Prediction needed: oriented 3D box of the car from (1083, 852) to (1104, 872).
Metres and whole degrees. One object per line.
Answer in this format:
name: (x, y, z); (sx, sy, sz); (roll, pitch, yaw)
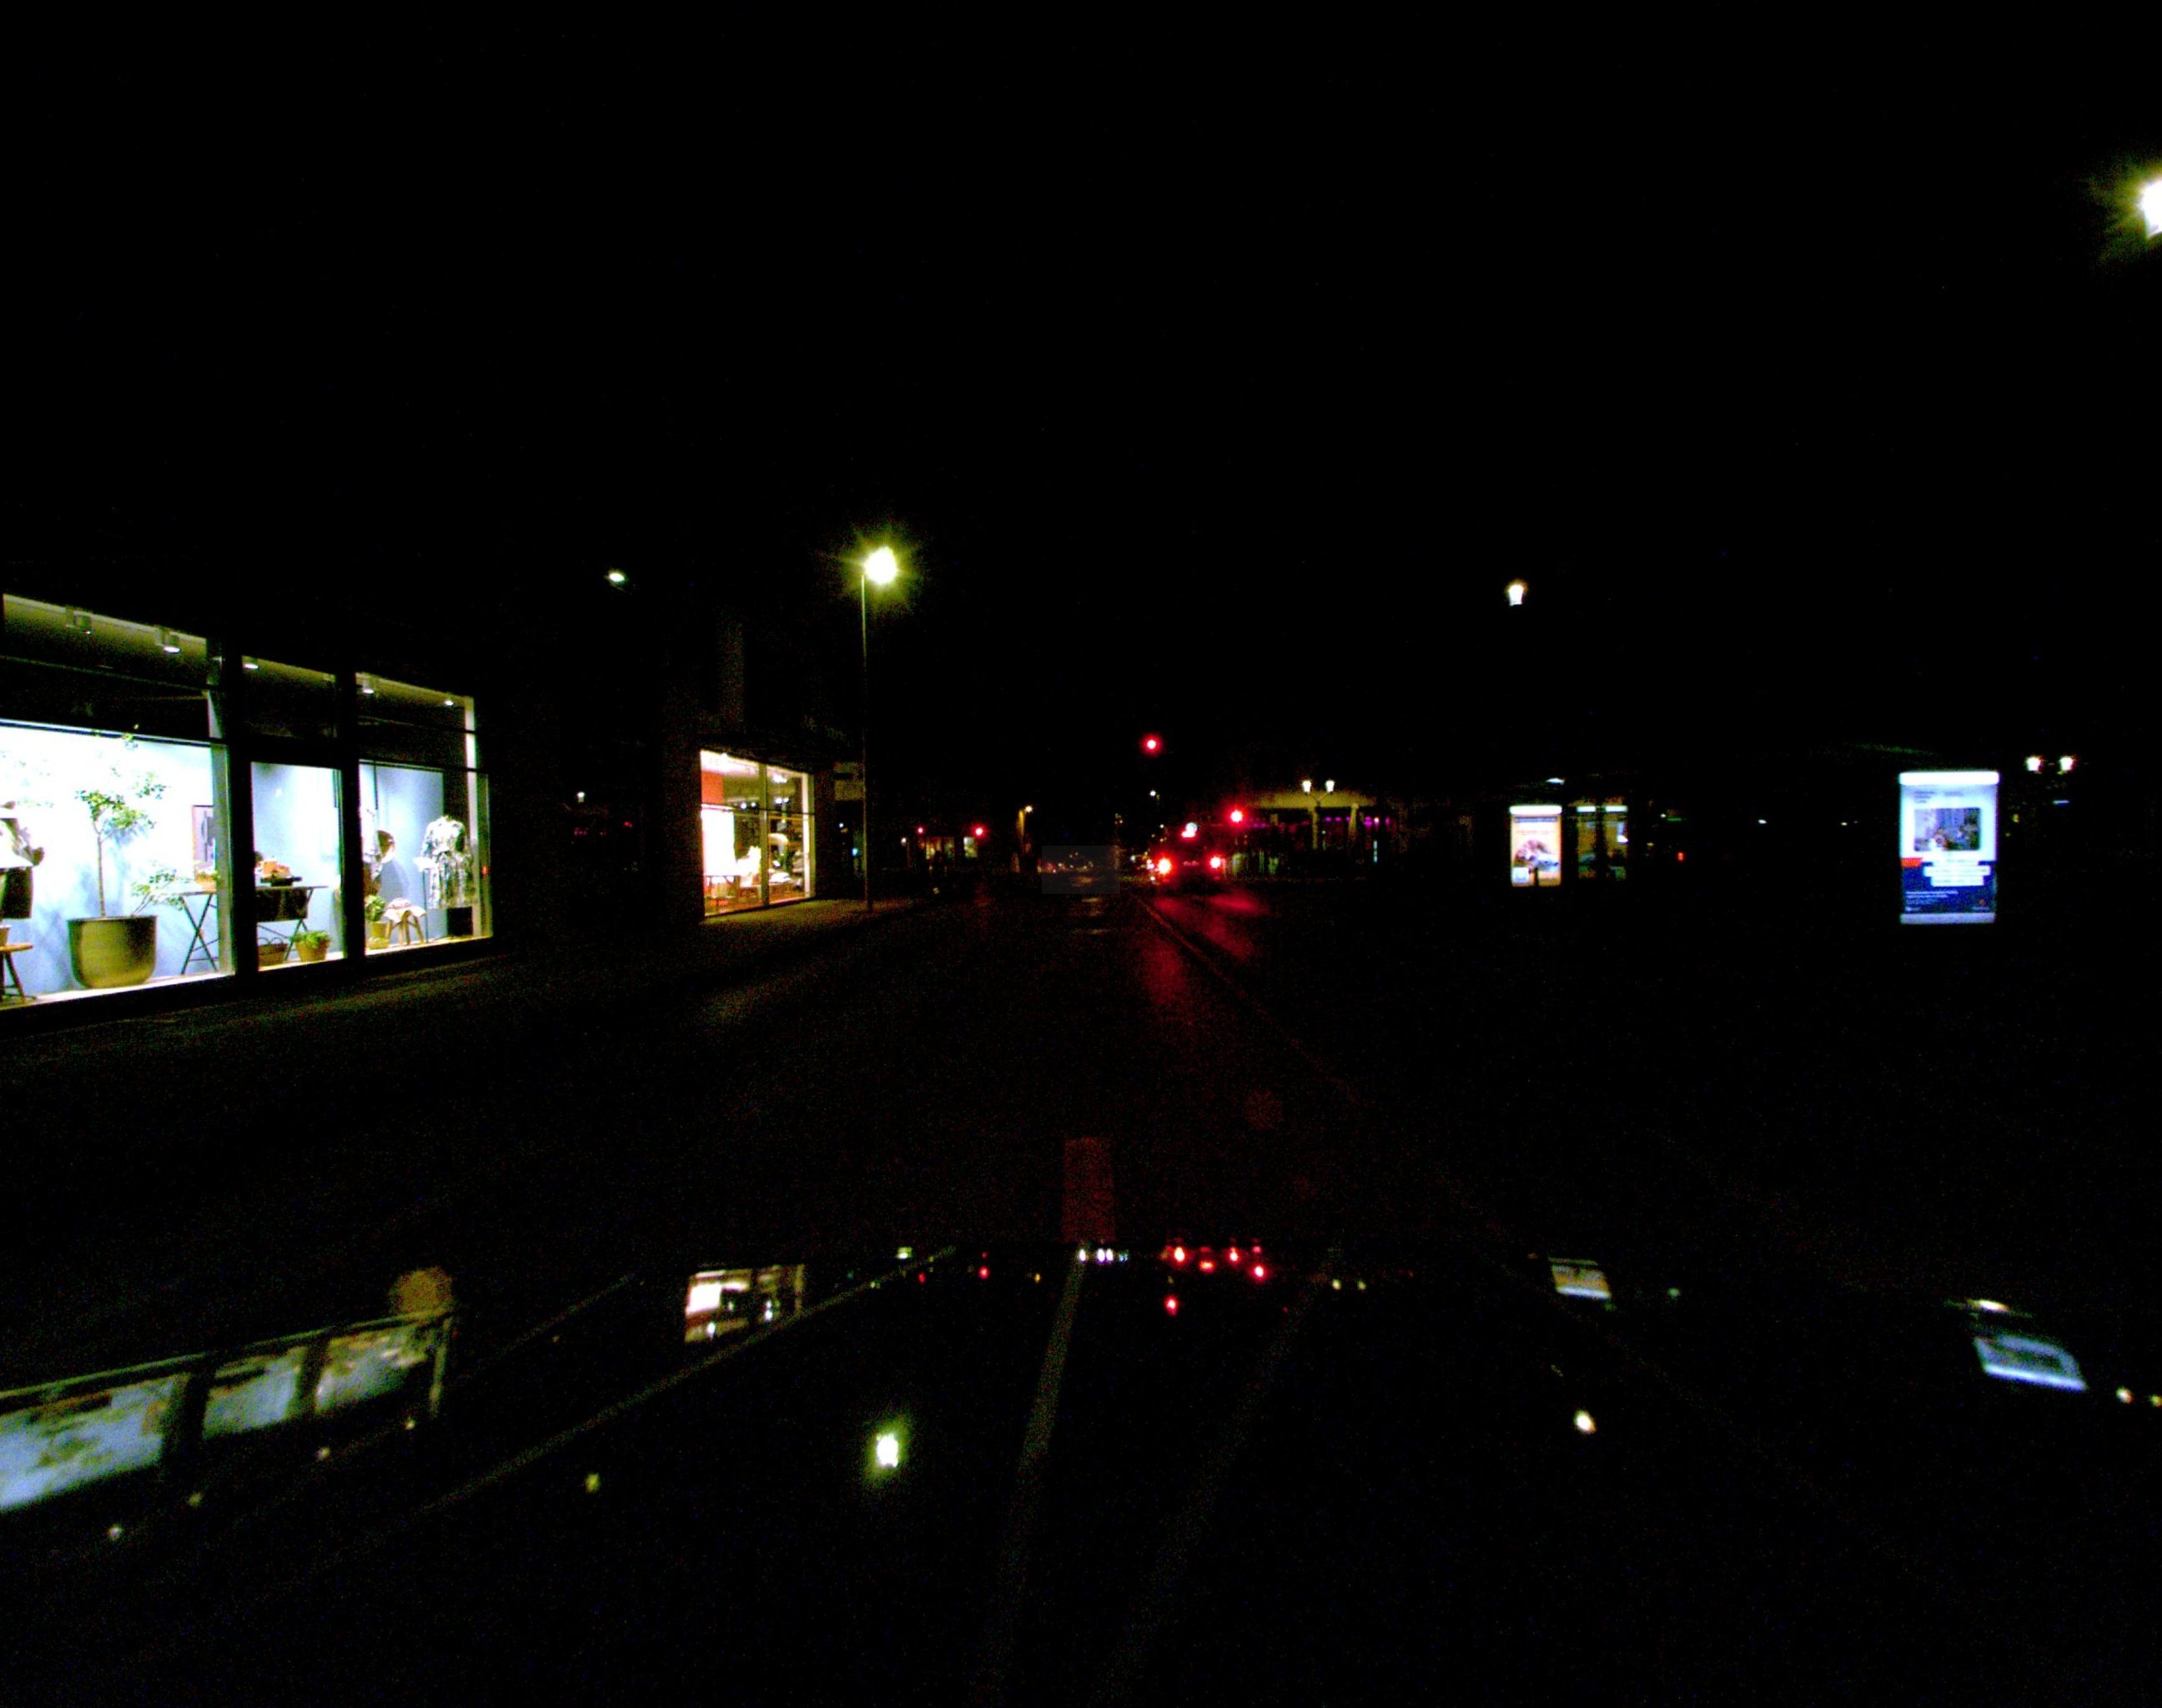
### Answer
car: (1.189, 0.747, 74.009); (1.879, 1.718, 3.999); (-2, 1, 1)

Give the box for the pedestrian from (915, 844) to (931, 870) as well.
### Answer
pedestrian: (-10.526, 0.214, 50.697); (0.877, 1.723, 0.647); (0, 1, 4)

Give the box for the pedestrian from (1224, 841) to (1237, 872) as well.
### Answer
pedestrian: (7.886, 0.136, 40.105); (0.646, 1.619, 0.583); (-2, 1, 11)

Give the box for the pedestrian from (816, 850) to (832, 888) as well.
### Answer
pedestrian: (-11.304, 0.651, 33.424); (0.407, 1.677, 0.487); (-2, 1, 5)

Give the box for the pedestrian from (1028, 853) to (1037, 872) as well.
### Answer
pedestrian: (-3.960, 0.687, 62.539); (0.647, 1.487, 0.830); (0, 1, 2)

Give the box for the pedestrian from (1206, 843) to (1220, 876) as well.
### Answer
pedestrian: (6.644, 0.282, 38.188); (0.646, 1.619, 0.583); (-2, 1, 11)

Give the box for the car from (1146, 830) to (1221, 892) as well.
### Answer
car: (3.338, 0.174, 25.622); (1.971, 1.861, 4.912); (-1, 1, 1)

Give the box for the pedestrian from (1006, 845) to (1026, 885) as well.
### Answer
pedestrian: (-2.816, 0.469, 33.037); (0.539, 1.672, 0.648); (-2, 1, 23)

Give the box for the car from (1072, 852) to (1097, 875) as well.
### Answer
car: (0.273, 0.708, 60.151); (1.713, 1.660, 3.738); (-2, 1, 3)

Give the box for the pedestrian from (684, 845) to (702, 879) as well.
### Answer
pedestrian: (-20.078, 0.421, 39.355); (0.524, 1.707, 0.567); (-2, 1, 8)
